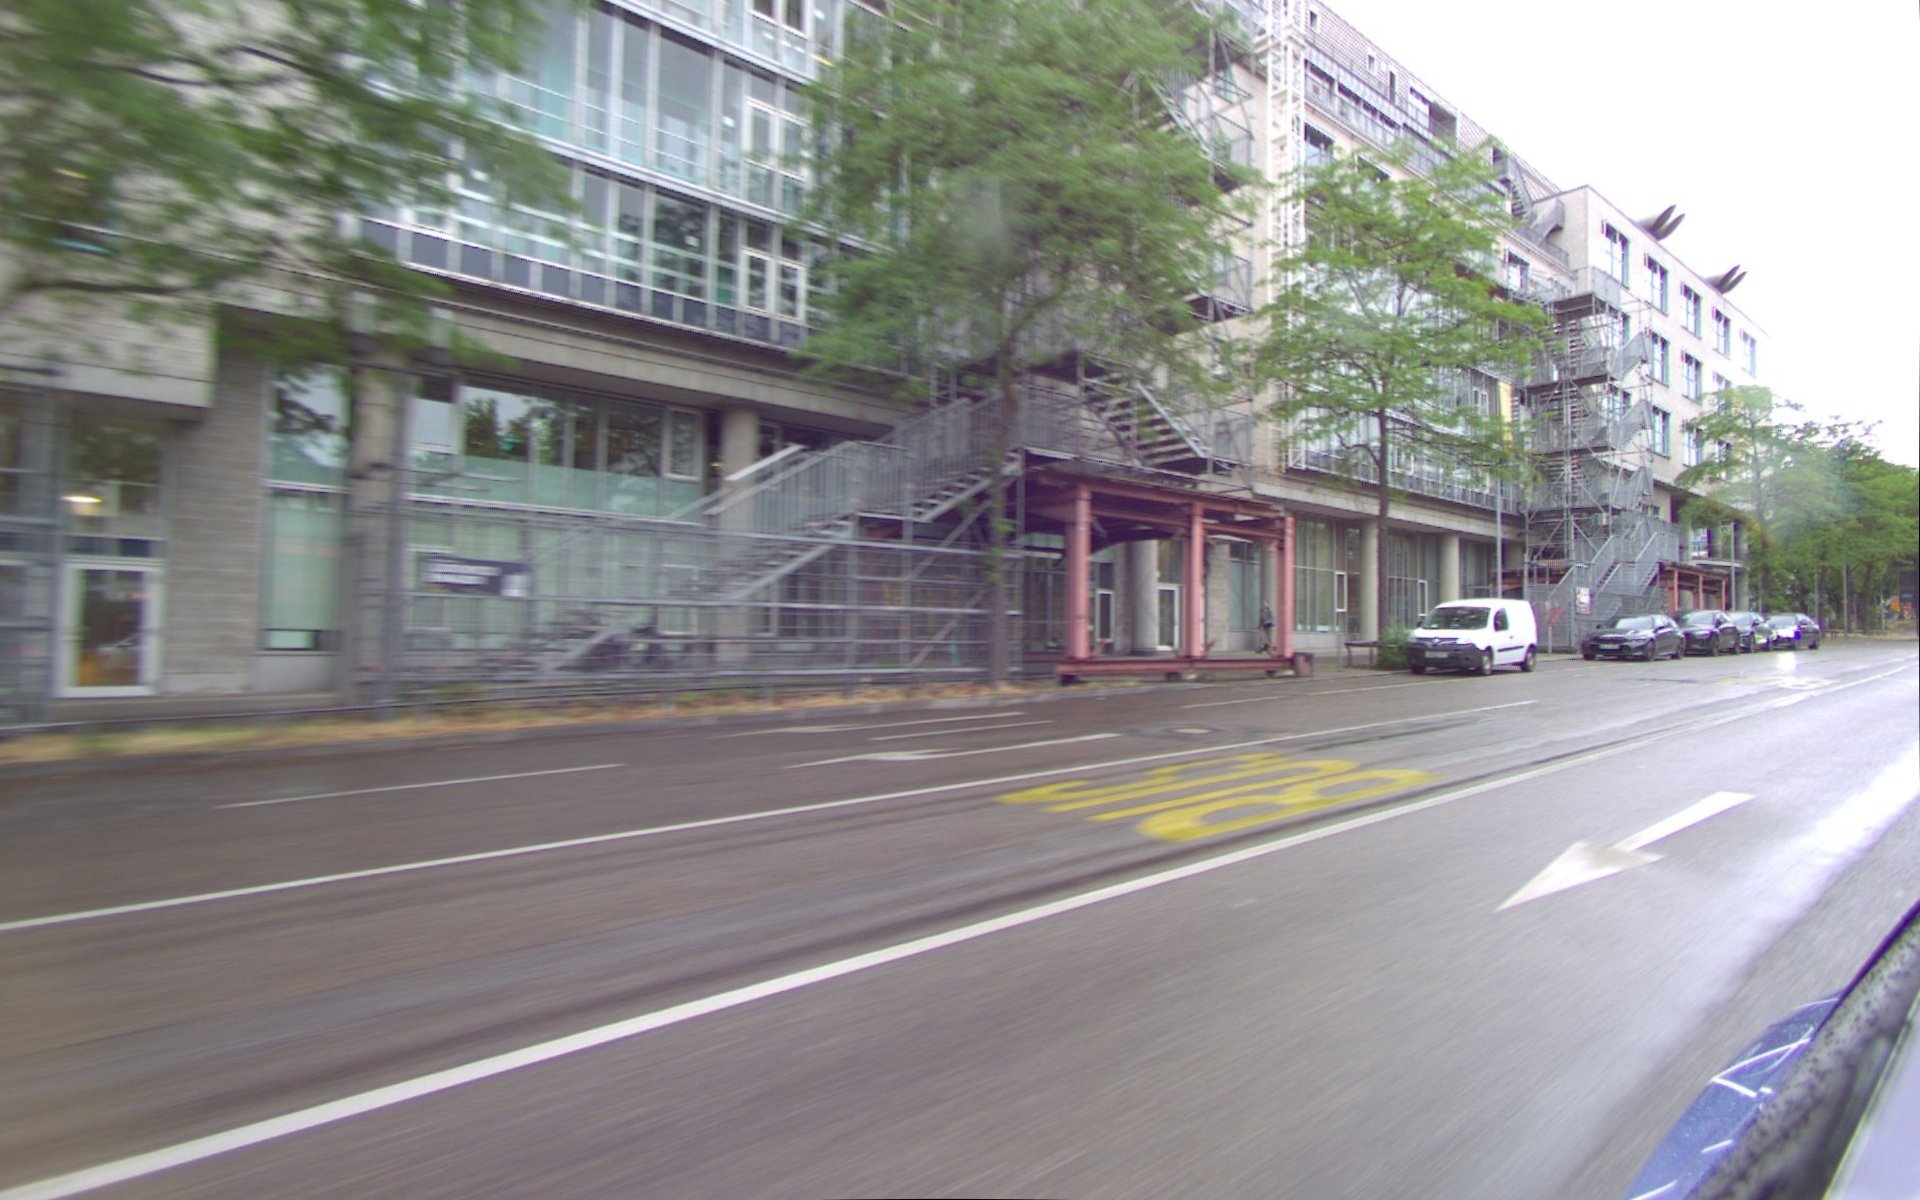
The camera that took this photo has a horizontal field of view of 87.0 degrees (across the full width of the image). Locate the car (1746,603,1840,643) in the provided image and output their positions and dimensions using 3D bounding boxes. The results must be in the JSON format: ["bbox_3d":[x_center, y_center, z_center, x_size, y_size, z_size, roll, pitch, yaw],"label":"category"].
[{"bbox_3d":[35.427,0.966,42.987,5.191,1.621,1.999,1,-1,-38],"label":"car"}]

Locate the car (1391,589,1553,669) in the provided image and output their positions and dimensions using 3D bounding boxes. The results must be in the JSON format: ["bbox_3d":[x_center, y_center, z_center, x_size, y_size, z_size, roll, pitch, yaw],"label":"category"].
[{"bbox_3d":[12.541,0.672,24.657,4.447,1.772,1.997,1,-1,-41],"label":"car"}]

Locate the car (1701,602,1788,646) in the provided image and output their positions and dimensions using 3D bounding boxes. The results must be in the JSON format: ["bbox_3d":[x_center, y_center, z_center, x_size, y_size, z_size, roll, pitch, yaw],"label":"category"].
[{"bbox_3d":[30.706,0.912,39.560,4.512,1.621,1.864,1,-1,-41],"label":"car"}]

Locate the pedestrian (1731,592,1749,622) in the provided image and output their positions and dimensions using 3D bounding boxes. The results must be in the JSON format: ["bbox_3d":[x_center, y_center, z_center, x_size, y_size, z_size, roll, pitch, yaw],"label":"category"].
[{"bbox_3d":[53.625,0.469,69.560,0.746,2.039,0.869,1,-2,-45],"label":"pedestrian"}]

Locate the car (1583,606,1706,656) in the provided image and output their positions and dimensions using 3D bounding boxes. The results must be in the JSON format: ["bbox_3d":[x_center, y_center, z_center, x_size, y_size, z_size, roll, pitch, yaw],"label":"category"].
[{"bbox_3d":[21.574,0.943,31.842,4.831,1.456,1.873,1,-1,-39],"label":"car"}]

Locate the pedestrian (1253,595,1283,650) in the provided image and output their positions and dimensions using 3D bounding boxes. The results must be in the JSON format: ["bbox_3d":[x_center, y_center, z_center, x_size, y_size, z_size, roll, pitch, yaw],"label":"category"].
[{"bbox_3d":[9.887,0.715,32.504,0.641,1.764,0.677,1,-1,-38],"label":"pedestrian"}]

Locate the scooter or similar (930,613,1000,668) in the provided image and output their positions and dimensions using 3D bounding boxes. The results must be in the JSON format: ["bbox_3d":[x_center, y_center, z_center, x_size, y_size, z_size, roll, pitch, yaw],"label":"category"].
[{"bbox_3d":[0.123,0.887,22.580,1.520,1.176,0.632,1,-1,-41],"label":"scooter or similar"}]

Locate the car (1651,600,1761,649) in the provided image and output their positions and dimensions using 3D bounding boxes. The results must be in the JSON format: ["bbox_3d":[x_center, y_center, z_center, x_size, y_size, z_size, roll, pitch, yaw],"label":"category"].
[{"bbox_3d":[26.677,0.847,36.148,4.773,1.667,1.998,1,-1,-39],"label":"car"}]
